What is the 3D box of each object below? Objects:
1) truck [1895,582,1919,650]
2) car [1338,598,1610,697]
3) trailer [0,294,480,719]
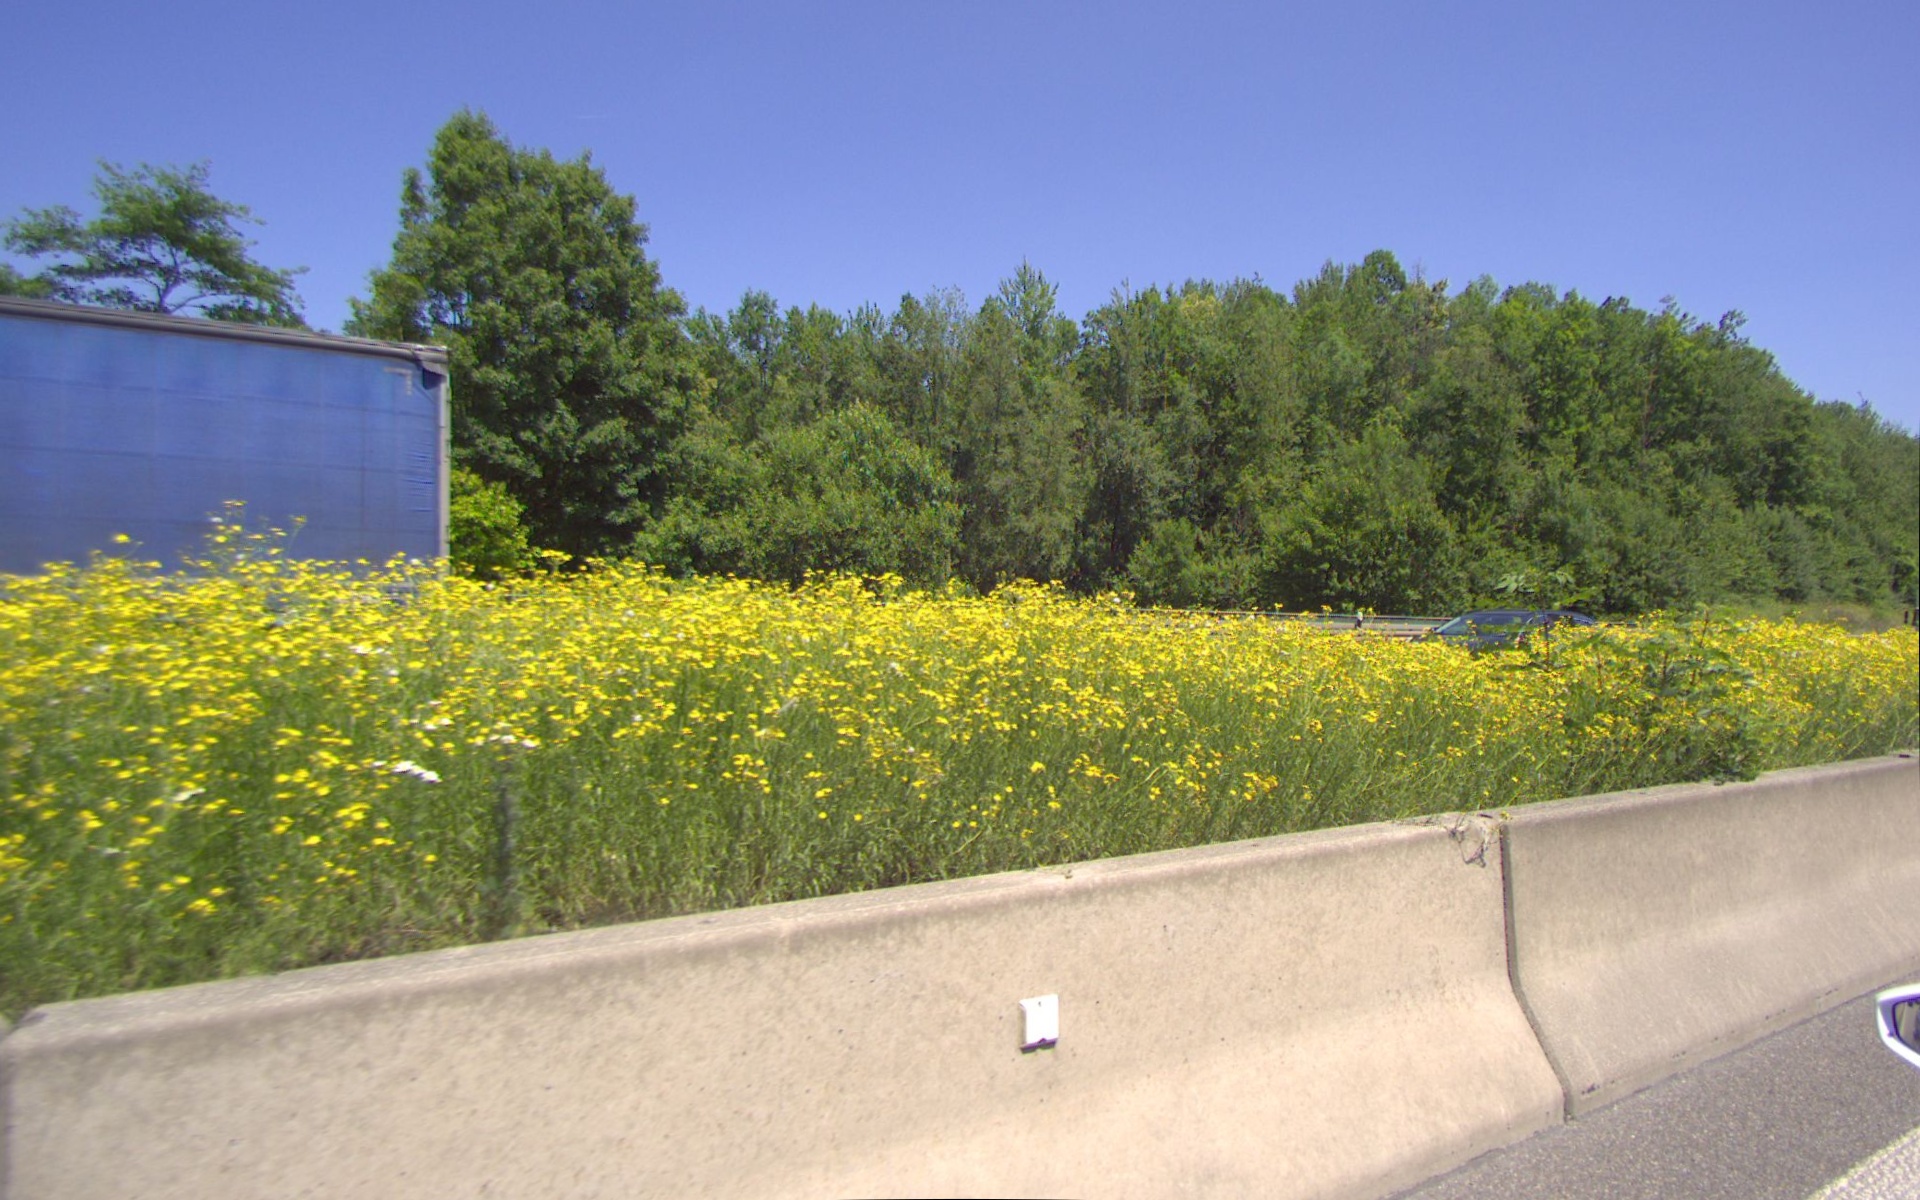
[{"bbox_3d":[53.529,0.931,54.125,7.233,3.521,2.721,1,0,-32],"label":"truck"},{"bbox_3d":[9.257,0.803,18.023,4.742,1.550,2.127,1,0,-30],"label":"car"},{"bbox_3d":[-10.421,-0.896,9.898,10.052,3.908,2.767,1,0,-31],"label":"trailer"}]
